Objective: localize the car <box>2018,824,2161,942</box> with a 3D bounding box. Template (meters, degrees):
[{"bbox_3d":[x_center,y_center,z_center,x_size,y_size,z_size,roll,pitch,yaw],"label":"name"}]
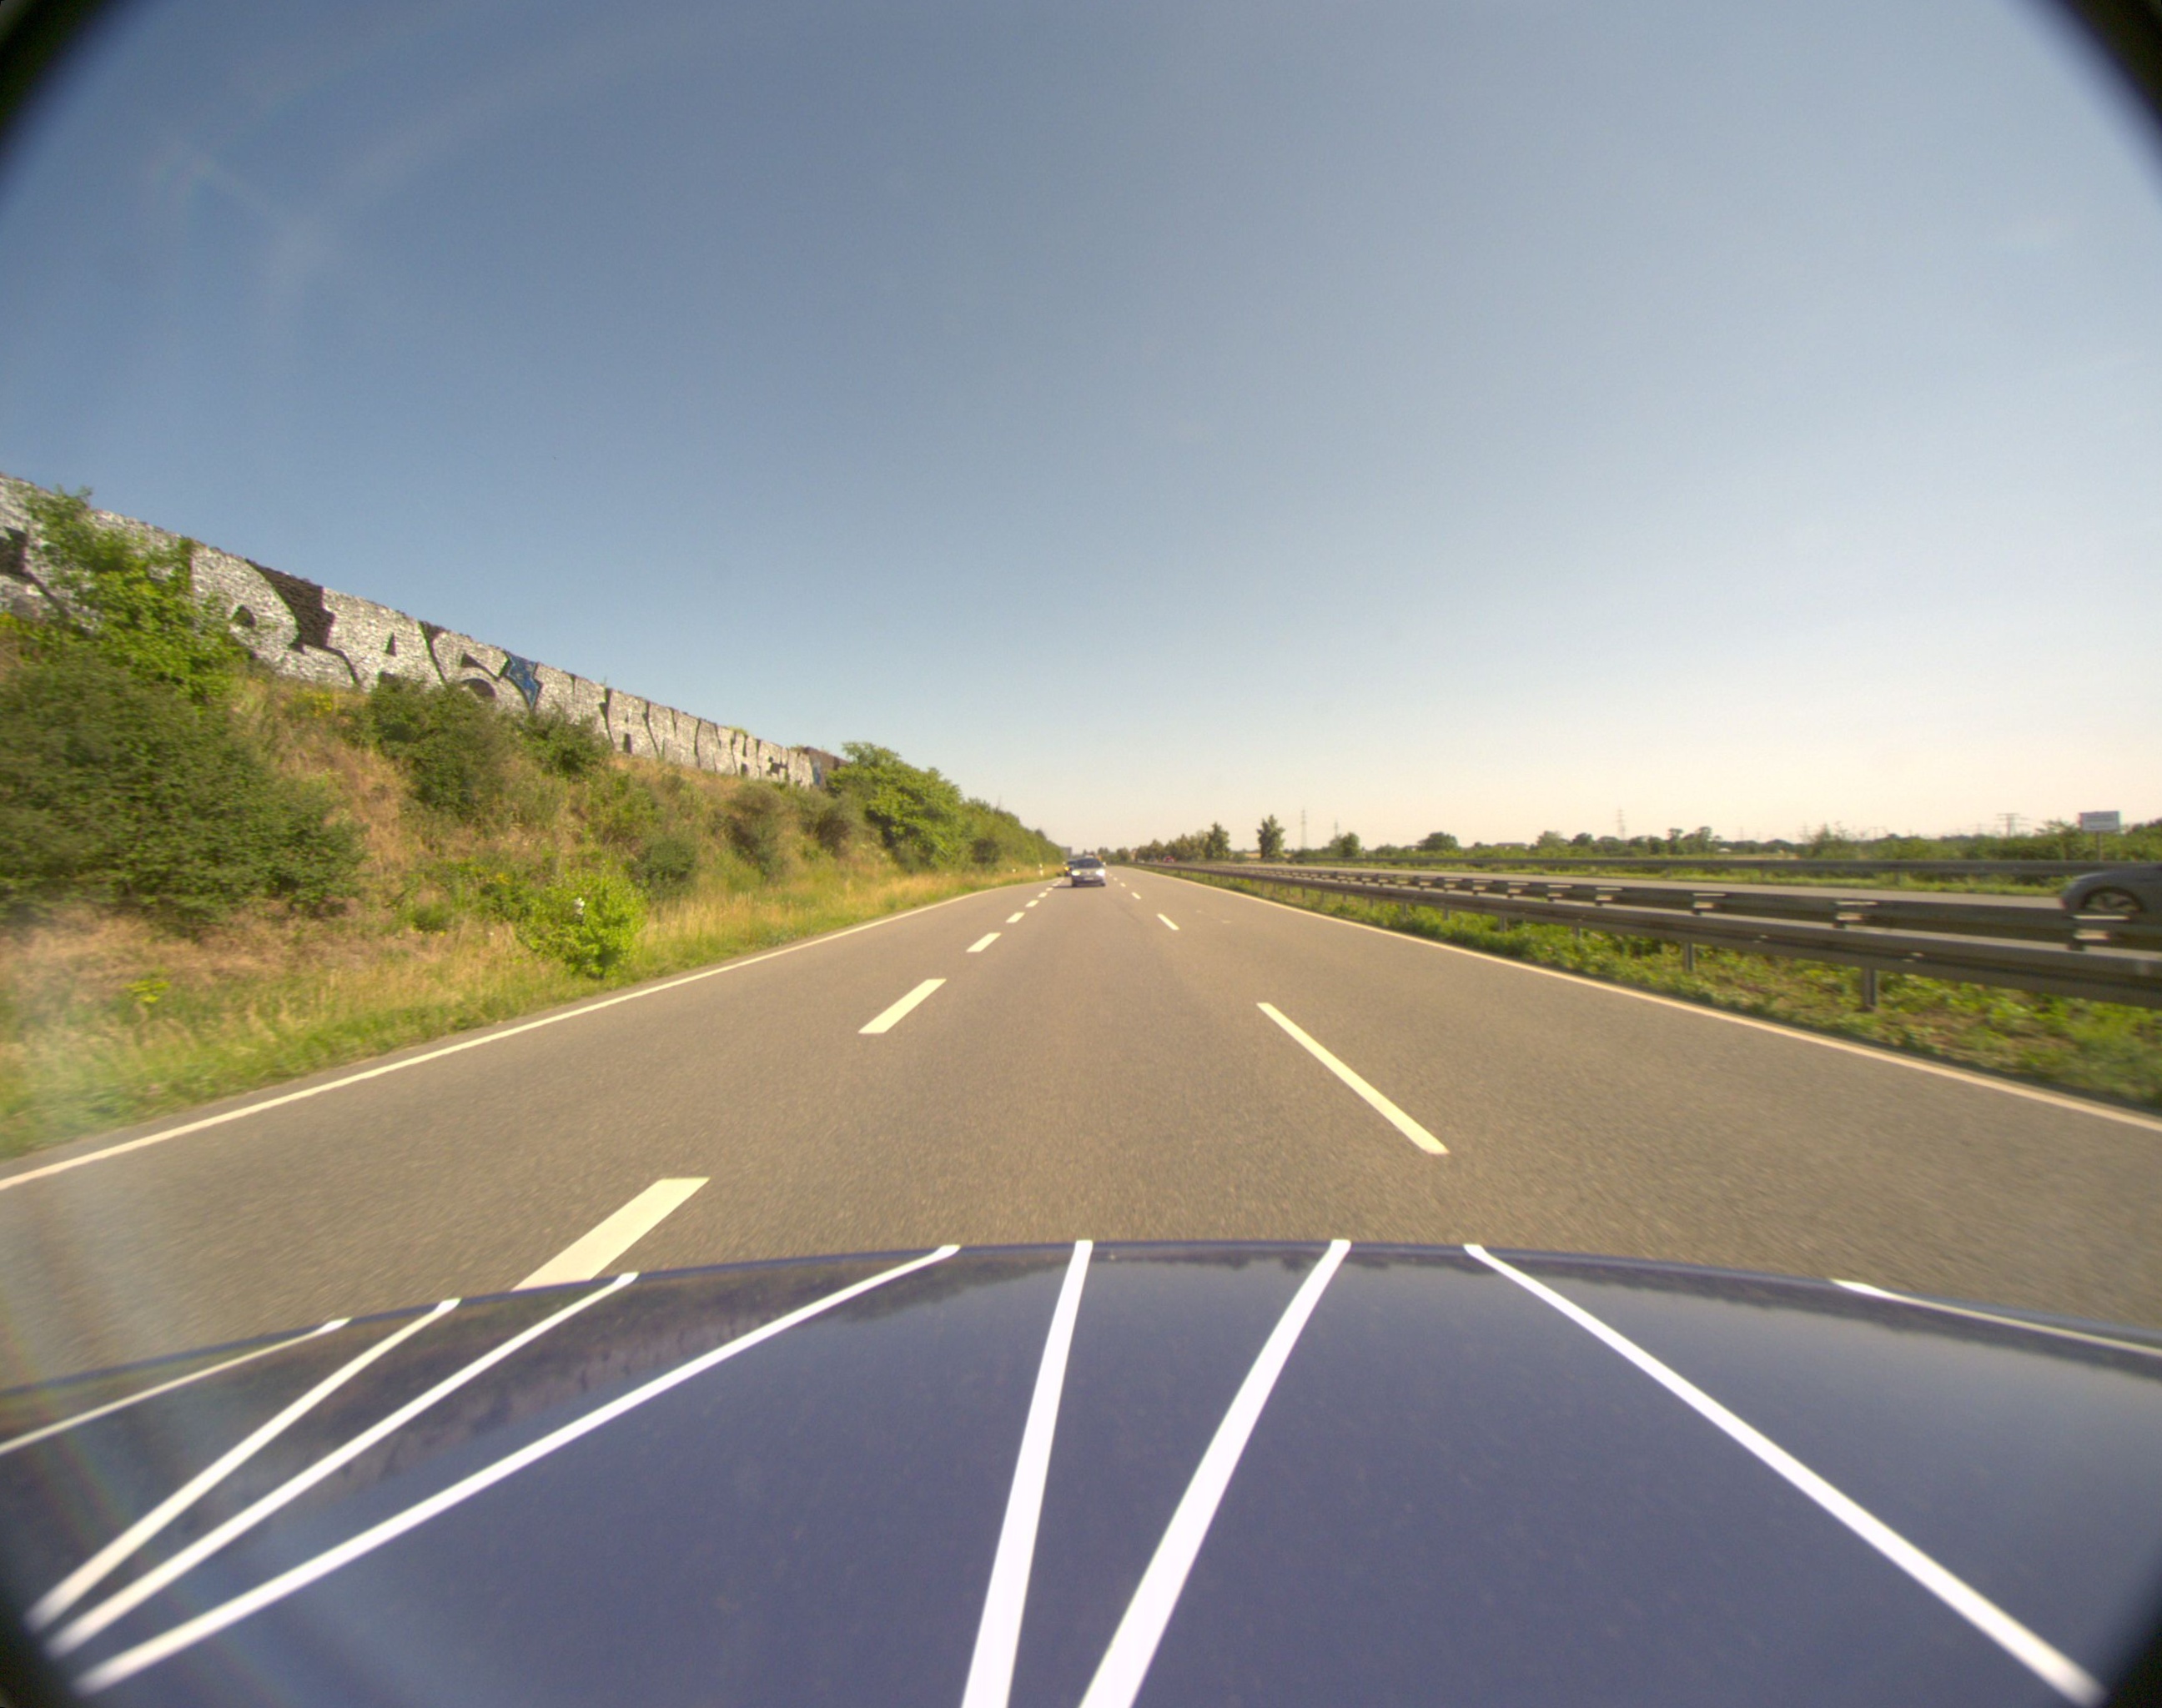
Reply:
[{"bbox_3d":[15.006,0.357,9.134,1.704,1.476,4.620,-4,0,0],"label":"car"}]

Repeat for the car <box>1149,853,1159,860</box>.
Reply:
[{"bbox_3d":[16.338,0.644,169.181,1.717,1.442,4.323,-2,0,-1],"label":"car"}]

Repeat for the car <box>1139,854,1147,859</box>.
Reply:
[{"bbox_3d":[17.271,0.730,210.749,1.826,1.388,4.415,-4,0,1],"label":"car"}]

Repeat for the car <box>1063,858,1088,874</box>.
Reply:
[{"bbox_3d":[-0.472,1.017,66.741,1.854,1.212,4.001,-3,0,4],"label":"car"}]

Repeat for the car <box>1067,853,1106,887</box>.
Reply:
[{"bbox_3d":[0.345,0.826,41.114,1.854,1.635,4.001,-2,0,4],"label":"car"}]

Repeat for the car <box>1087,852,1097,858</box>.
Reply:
[{"bbox_3d":[2.190,0.189,146.423,1.790,1.212,3.999,-2,0,0],"label":"car"}]

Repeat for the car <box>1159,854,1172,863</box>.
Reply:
[{"bbox_3d":[15.803,0.802,141.770,1.872,1.426,4.935,-4,0,0],"label":"car"}]
